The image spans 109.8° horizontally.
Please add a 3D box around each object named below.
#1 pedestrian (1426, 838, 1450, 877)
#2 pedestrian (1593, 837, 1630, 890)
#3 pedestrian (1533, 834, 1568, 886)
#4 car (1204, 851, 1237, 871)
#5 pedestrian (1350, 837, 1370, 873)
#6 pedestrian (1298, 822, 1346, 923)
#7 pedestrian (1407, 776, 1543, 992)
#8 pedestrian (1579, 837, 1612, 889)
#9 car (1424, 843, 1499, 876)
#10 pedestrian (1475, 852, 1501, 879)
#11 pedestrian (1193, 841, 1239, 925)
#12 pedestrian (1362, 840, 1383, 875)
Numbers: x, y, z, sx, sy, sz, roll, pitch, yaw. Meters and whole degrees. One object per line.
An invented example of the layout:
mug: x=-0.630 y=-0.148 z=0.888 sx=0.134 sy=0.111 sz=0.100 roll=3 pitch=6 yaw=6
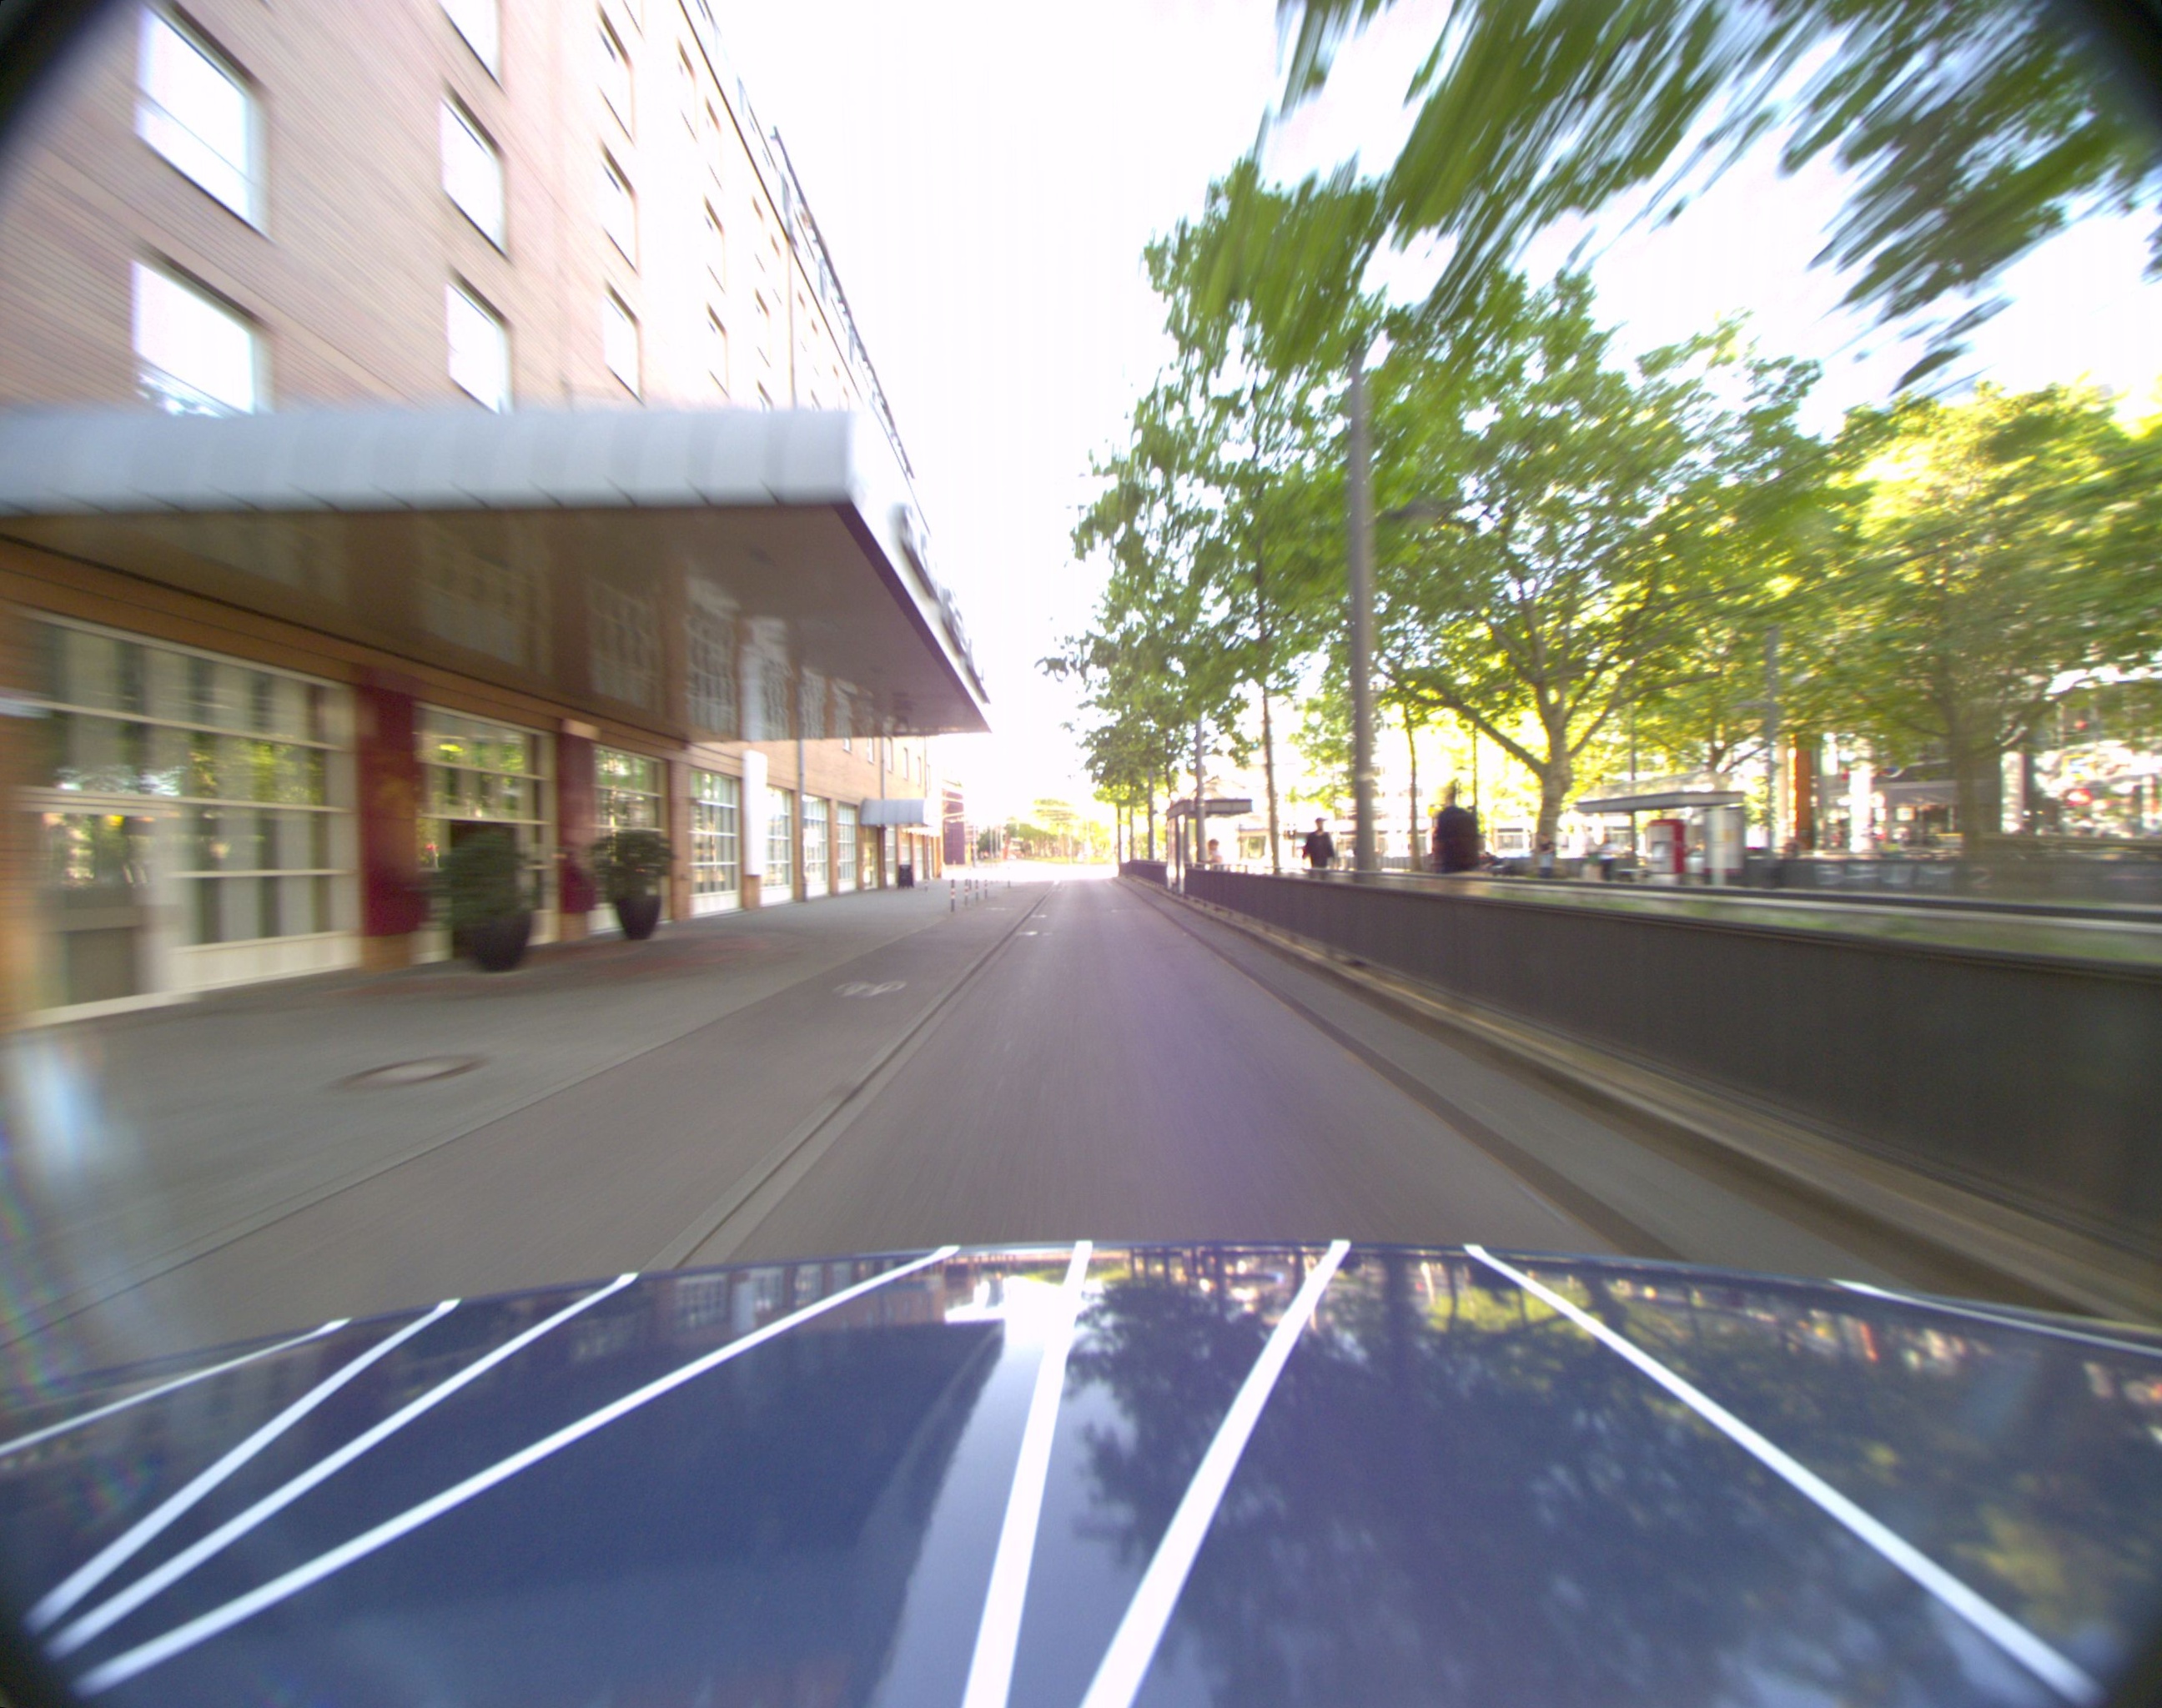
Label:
pedestrian: x=16.165 y=0.154 z=34.420 sx=0.698 sy=1.730 sz=0.637 roll=-2 pitch=1 yaw=-8
pedestrian: x=15.037 y=0.266 z=21.542 sx=0.571 sy=1.477 sz=0.607 roll=-2 pitch=1 yaw=-12
pedestrian: x=15.165 y=0.174 z=24.540 sx=0.669 sy=1.632 sz=0.669 roll=-2 pitch=1 yaw=-12
car: x=10.673 y=0.526 z=58.400 sx=1.871 sy=1.447 sz=3.341 roll=-2 pitch=1 yaw=0
pedestrian: x=13.843 y=0.044 z=37.768 sx=0.656 sy=1.744 sz=0.676 roll=-2 pitch=1 yaw=-8
pedestrian: x=4.482 y=0.334 z=14.164 sx=0.648 sy=1.829 sz=0.638 roll=-2 pitch=1 yaw=0
pedestrian: x=3.490 y=0.248 z=6.786 sx=0.708 sy=1.791 sz=0.826 roll=-2 pitch=1 yaw=-7
pedestrian: x=15.009 y=0.260 z=22.154 sx=0.554 sy=1.488 sz=0.550 roll=-2 pitch=1 yaw=-12
car: x=19.754 y=0.270 z=39.679 sx=1.998 sy=1.630 sz=4.000 roll=0 pitch=1 yaw=1
pedestrian: x=16.542 y=0.467 z=30.883 sx=0.723 sy=1.034 sz=0.698 roll=-1 pitch=1 yaw=8
pedestrian: x=2.808 y=0.591 z=15.898 sx=0.742 sy=1.680 sz=0.645 roll=-4 pitch=1 yaw=-1
pedestrian: x=14.197 y=0.156 z=36.992 sx=0.686 sy=1.686 sz=0.698 roll=-2 pitch=1 yaw=-8
